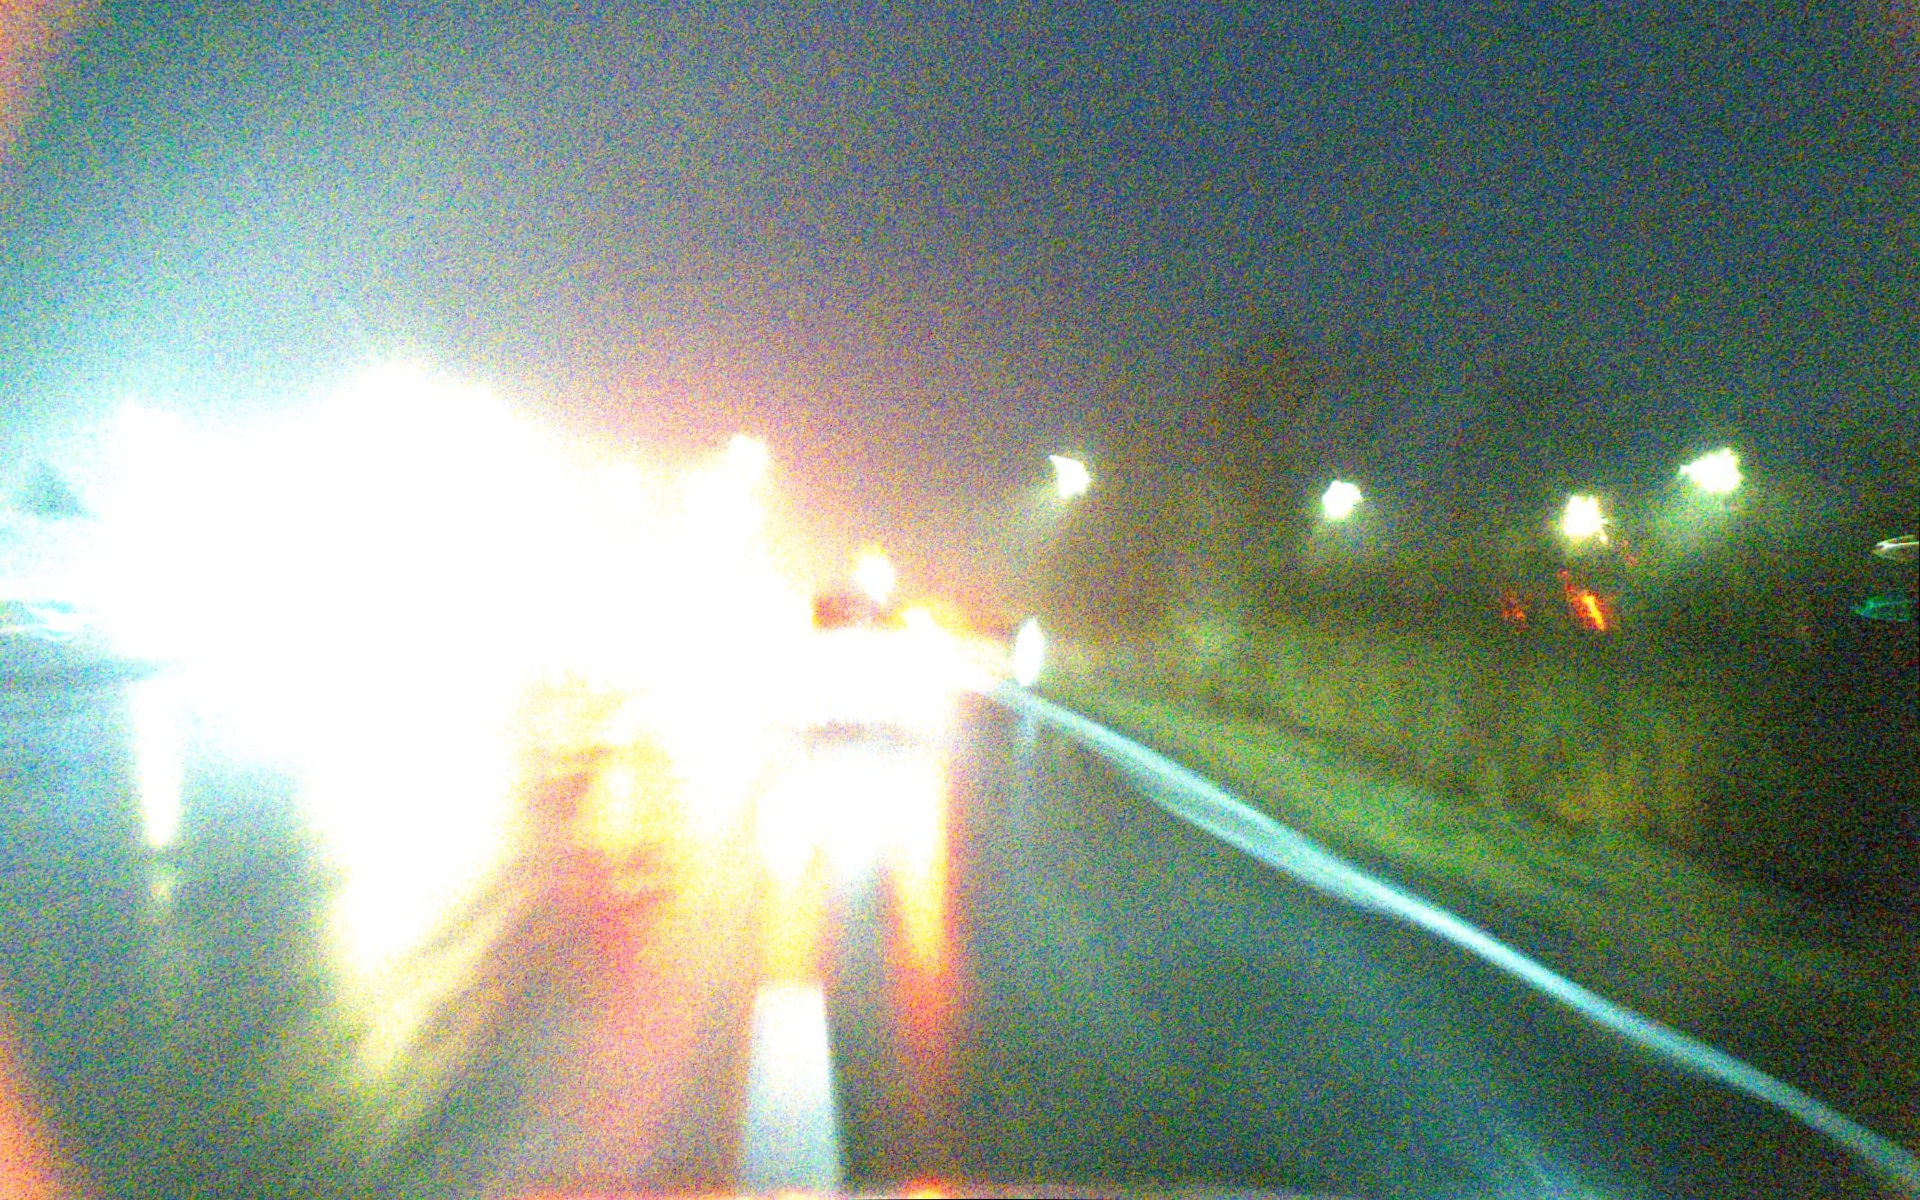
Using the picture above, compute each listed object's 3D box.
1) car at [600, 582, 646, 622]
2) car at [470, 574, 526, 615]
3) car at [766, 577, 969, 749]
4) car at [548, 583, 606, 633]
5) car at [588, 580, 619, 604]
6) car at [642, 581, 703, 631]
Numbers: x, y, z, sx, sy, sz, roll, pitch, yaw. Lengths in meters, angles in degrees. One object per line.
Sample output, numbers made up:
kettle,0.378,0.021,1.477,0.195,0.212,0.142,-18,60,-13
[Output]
car,-15.464,0.045,75.755,1.959,1.656,4.970,-2,1,-12
car,-19.847,-0.272,71.204,1.959,1.656,4.970,-2,1,-12
car,-1.178,0.644,18.568,1.955,1.656,4.976,1,-1,-7
car,-14.032,0.254,60.802,1.959,1.656,4.970,-2,1,-12
car,-26.021,-0.602,120.686,1.960,1.656,4.965,-2,1,-15
car,-10.597,0.167,60.753,1.959,1.656,4.970,-2,1,-12
